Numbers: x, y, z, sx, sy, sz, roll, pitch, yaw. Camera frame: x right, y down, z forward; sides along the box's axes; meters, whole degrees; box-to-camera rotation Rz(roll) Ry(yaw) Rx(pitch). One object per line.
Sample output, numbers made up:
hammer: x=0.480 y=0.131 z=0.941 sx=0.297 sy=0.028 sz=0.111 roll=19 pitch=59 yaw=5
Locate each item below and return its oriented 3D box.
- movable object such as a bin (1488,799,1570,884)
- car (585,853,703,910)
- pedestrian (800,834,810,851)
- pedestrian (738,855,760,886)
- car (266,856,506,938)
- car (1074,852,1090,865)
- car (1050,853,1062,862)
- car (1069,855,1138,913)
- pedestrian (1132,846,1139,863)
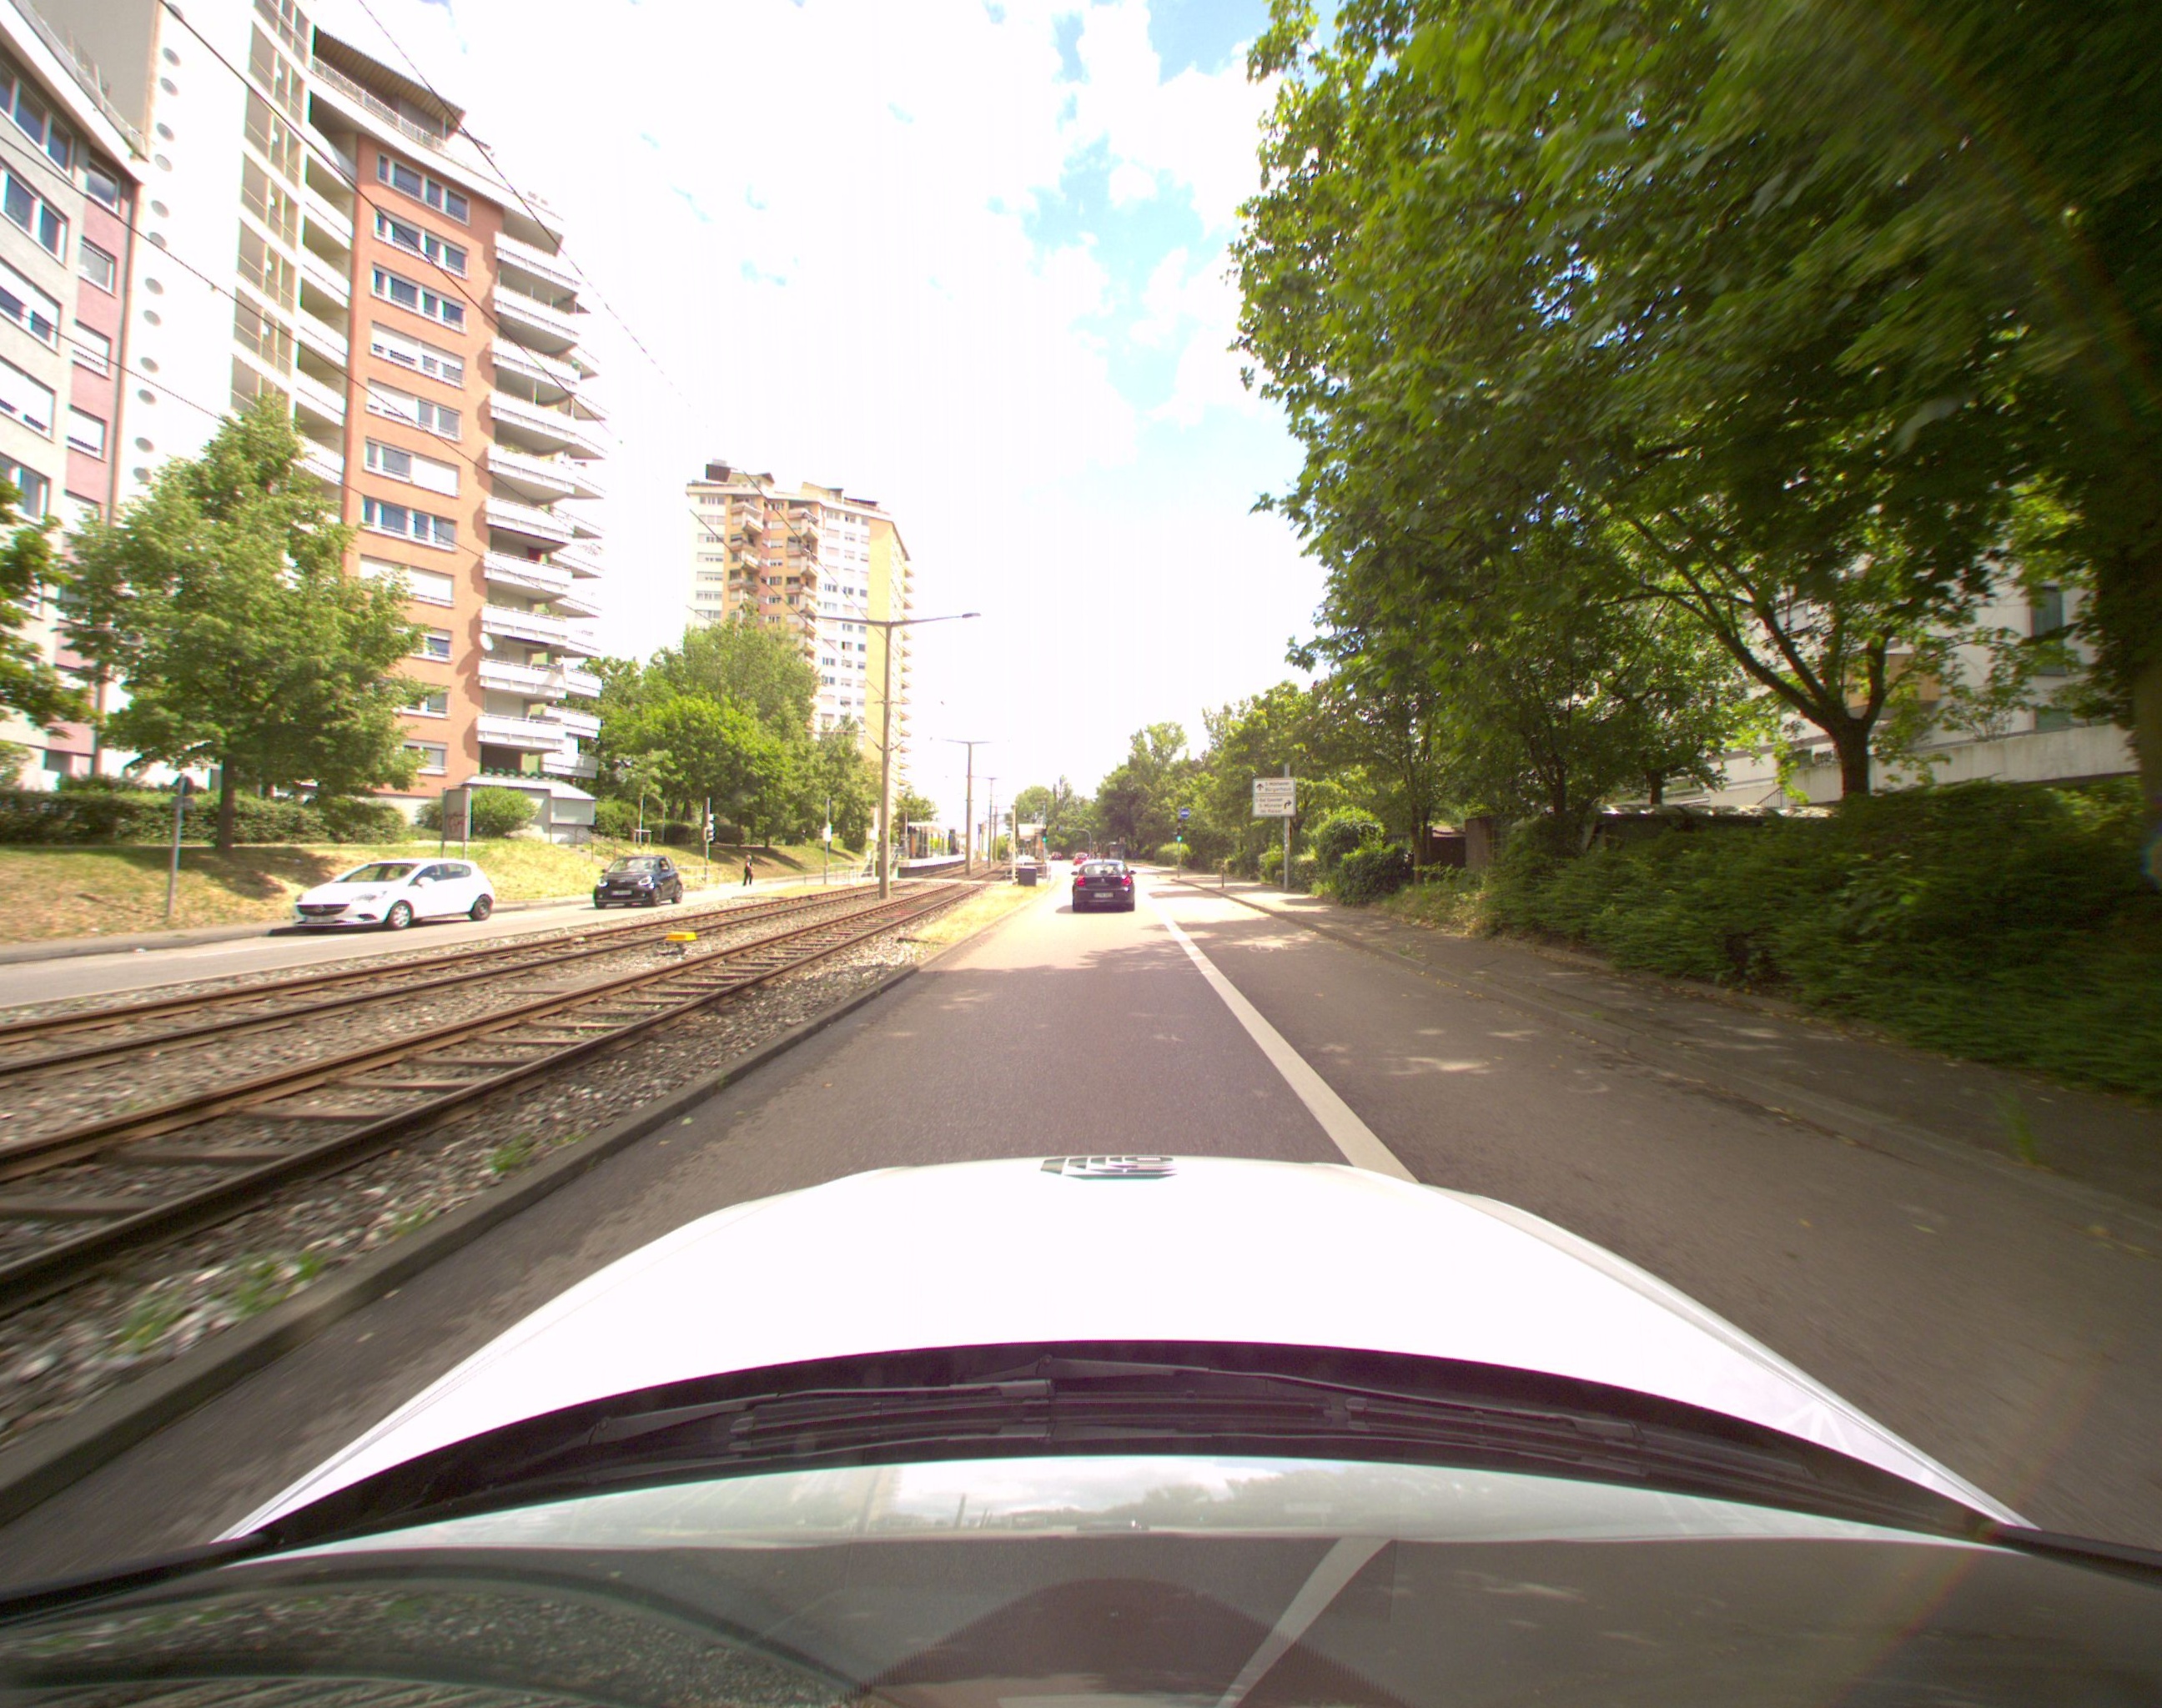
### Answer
movable object such as a bin: x=8.183 y=-0.219 z=14.928 sx=0.794 sy=1.478 sz=1.303 roll=0 pitch=0 yaw=1
car: x=-13.125 y=0.770 z=24.732 sx=1.712 sy=1.564 sz=3.693 roll=0 pitch=0 yaw=-3
pedestrian: x=-24.969 y=-1.035 z=73.717 sx=0.628 sy=1.534 sz=0.637 roll=-1 pitch=0 yaw=18
pedestrian: x=-16.444 y=0.805 z=40.337 sx=0.774 sy=1.534 sz=0.708 roll=-1 pitch=0 yaw=-44
car: x=-14.833 y=0.826 z=17.764 sx=1.778 sy=1.532 sz=4.238 roll=-1 pitch=0 yaw=-4
car: x=0.129 y=0.521 z=96.722 sx=1.777 sy=1.459 sz=3.917 roll=0 pitch=0 yaw=-3
car: x=-4.323 y=0.593 z=138.539 sx=1.906 sy=1.459 sz=3.996 roll=0 pitch=0 yaw=-4
car: x=0.563 y=0.793 z=23.389 sx=1.776 sy=1.459 sz=3.919 roll=-1 pitch=0 yaw=-1
pedestrian: x=6.560 y=0.080 z=98.122 sx=0.737 sy=2.013 sz=0.682 roll=0 pitch=0 yaw=1
